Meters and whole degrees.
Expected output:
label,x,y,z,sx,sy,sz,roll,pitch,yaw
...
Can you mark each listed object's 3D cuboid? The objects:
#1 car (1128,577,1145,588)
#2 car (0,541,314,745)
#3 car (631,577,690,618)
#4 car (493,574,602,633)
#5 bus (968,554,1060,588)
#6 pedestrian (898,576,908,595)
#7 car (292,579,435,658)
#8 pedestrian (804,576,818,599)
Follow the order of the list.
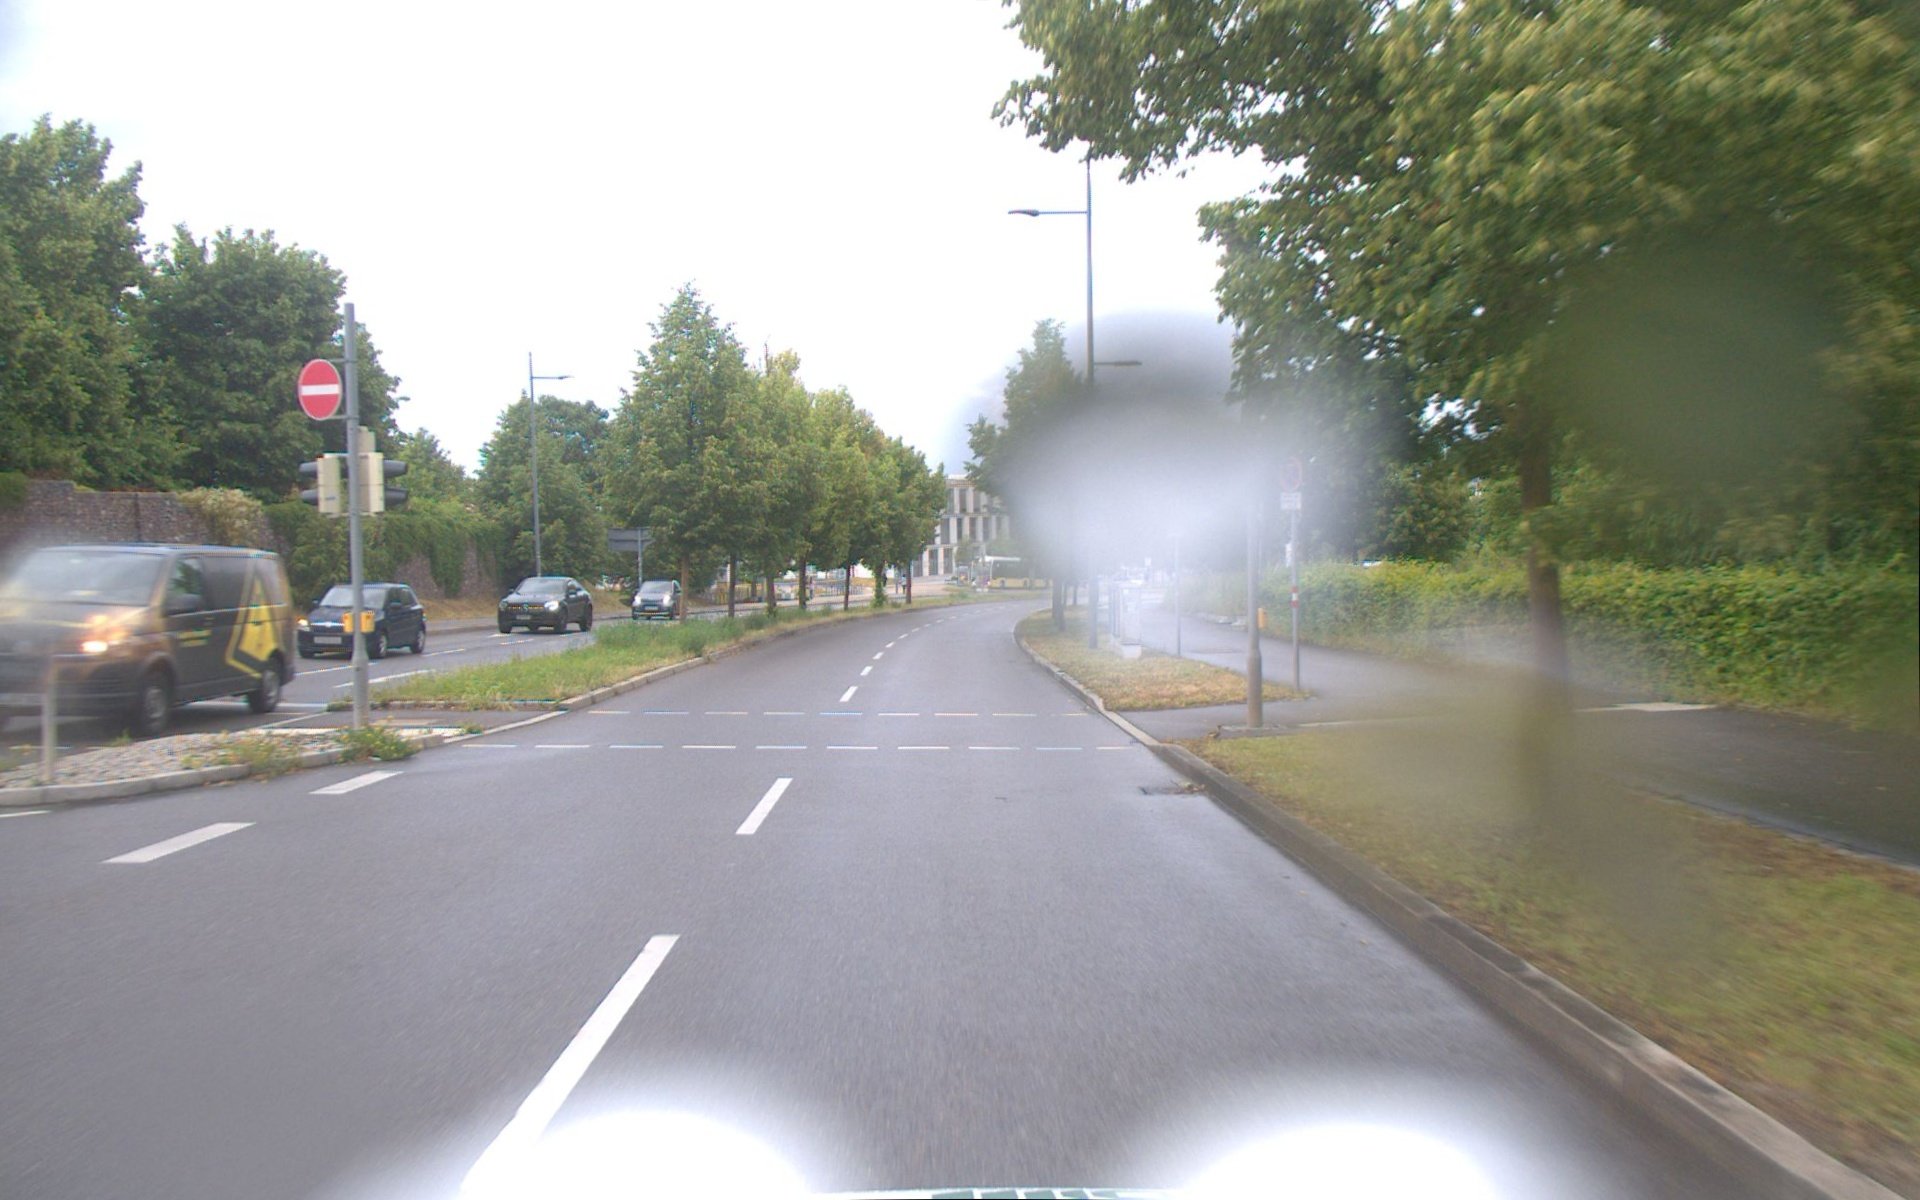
label,x,y,z,sx,sy,sz,roll,pitch,yaw
car,23.494,-2.307,219.891,1.449,1.520,2.529,0,0,25
car,-9.082,0.386,18.373,1.973,1.952,5.093,0,0,-2
car,-11.751,-0.119,65.003,1.651,1.566,2.917,0,1,2
car,-12.181,0.080,49.191,1.842,1.623,4.768,1,0,2
bus,6.132,-3.103,181.037,2.730,3.416,18.207,0,0,26
pedestrian,-4.751,-1.218,138.328,0.817,1.601,0.718,0,0,-5
car,-12.138,0.333,33.908,1.566,1.515,3.999,0,1,-2
pedestrian,-10.916,-0.893,120.915,0.796,1.649,0.936,0,0,12
